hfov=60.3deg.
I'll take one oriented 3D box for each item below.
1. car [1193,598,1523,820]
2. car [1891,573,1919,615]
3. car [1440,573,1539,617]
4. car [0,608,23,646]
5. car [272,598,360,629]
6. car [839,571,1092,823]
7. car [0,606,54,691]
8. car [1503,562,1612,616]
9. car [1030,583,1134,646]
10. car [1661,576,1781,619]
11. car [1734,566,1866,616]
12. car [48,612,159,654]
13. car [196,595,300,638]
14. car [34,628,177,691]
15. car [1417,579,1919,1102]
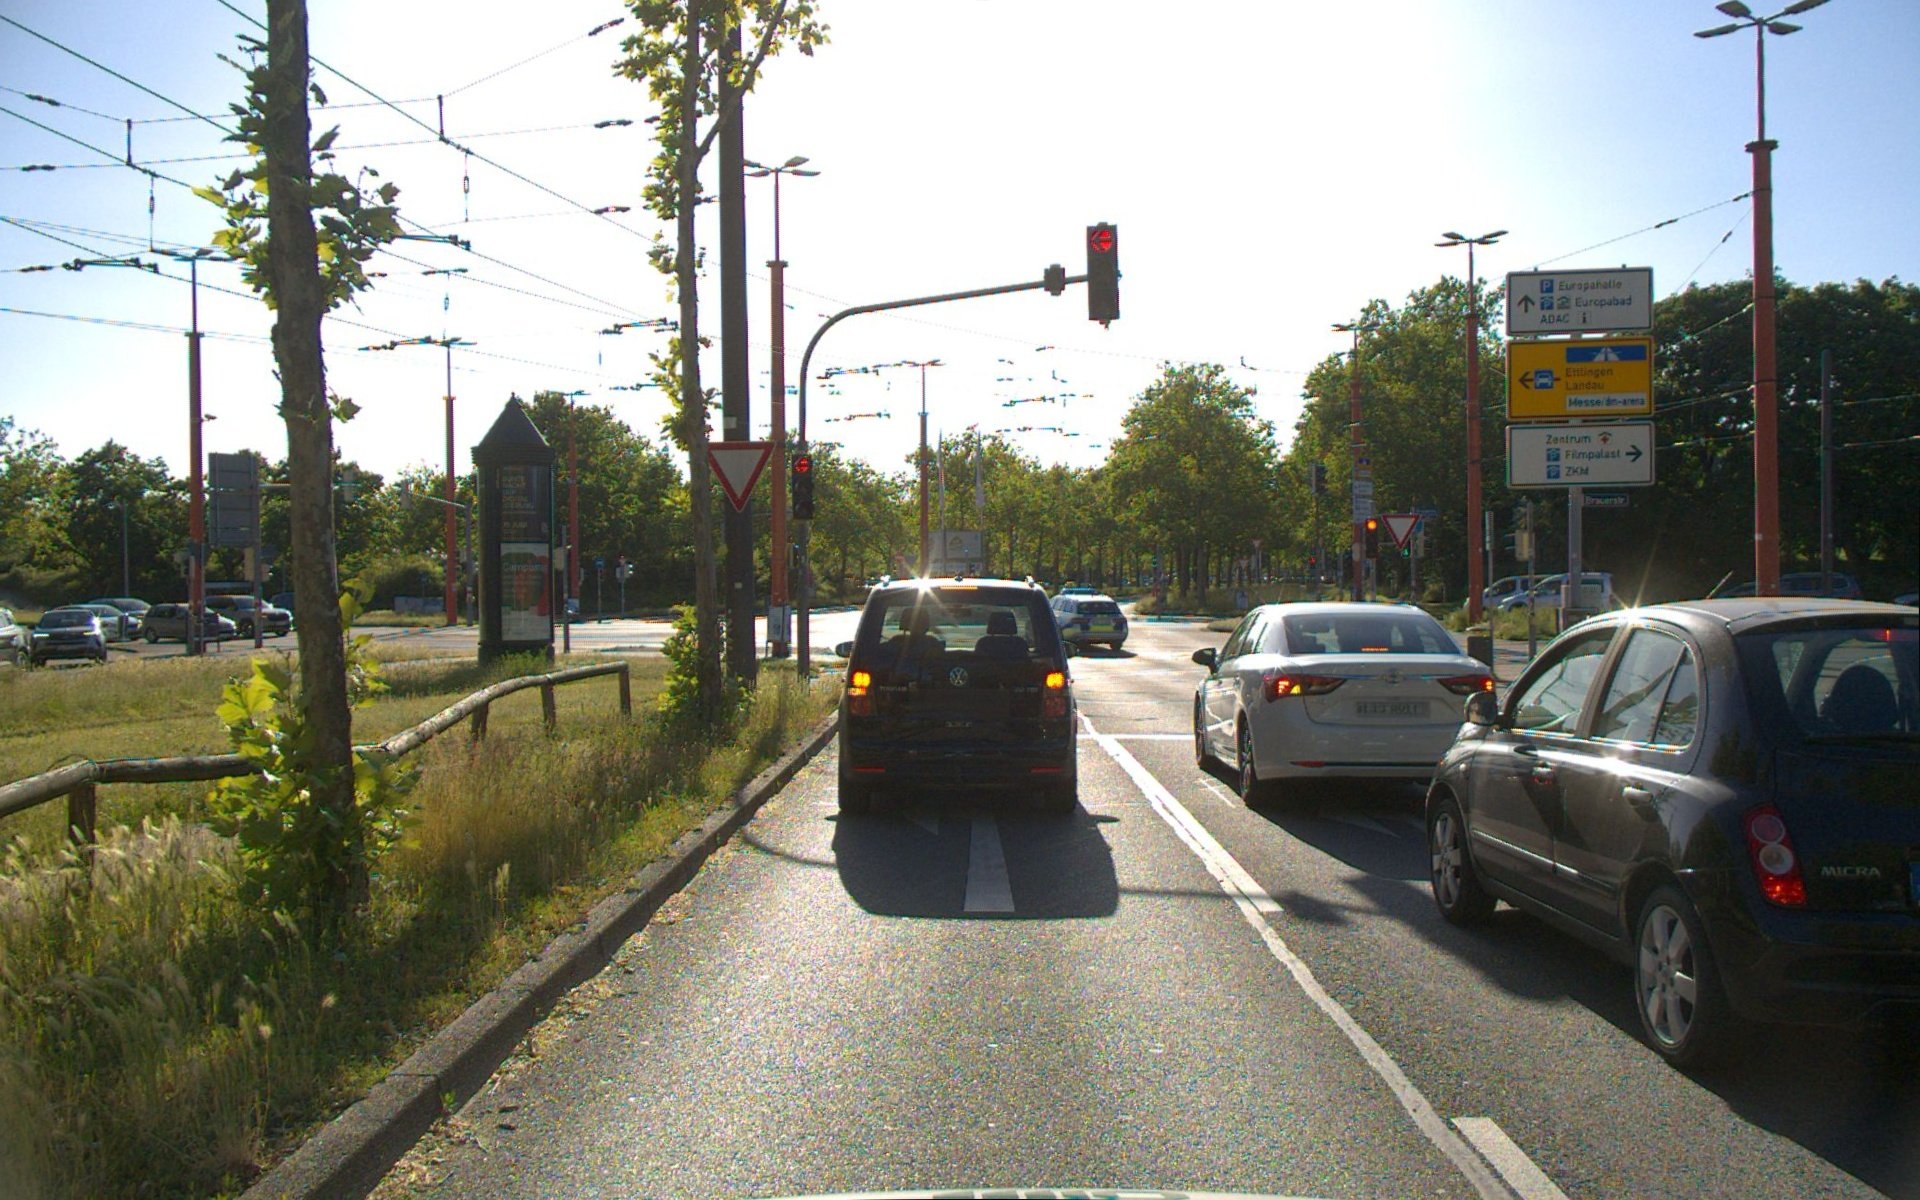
[{"bbox_3d":[2.968,0.731,13.216,1.685,1.463,4.198,1,0,1],"label":"car"},{"bbox_3d":[35.350,-0.194,58.744,3.888,1.466,1.684,1,0,28],"label":"car"},{"bbox_3d":[21.204,-0.191,66.223,3.570,1.684,1.679,1,0,25],"label":"car"},{"bbox_3d":[-41.566,1.128,69.702,3.908,1.540,1.731,0,0,25],"label":"car"},{"bbox_3d":[-29.153,0.586,74.825,3.913,1.353,1.694,0,0,31],"label":"car"},{"bbox_3d":[0.007,0.631,12.883,1.666,1.650,3.896,0,0,-1],"label":"car"},{"bbox_3d":[-18.393,0.893,29.955,1.728,1.538,4.101,0,0,-1],"label":"car"},{"bbox_3d":[22.421,-0.416,62.050,3.755,1.923,1.763,1,0,24],"label":"car"},{"bbox_3d":[3.367,0.387,46.367,1.767,1.685,4.100,0,0,-13],"label":"car"},{"bbox_3d":[28.673,-0.102,62.384,4.040,1.537,1.821,1,0,26],"label":"car"},{"bbox_3d":[29.579,-0.333,58.342,4.097,1.673,1.758,1,0,26],"label":"car"},{"bbox_3d":[-34.410,1.294,66.430,4.091,1.640,1.867,0,0,25],"label":"car"},{"bbox_3d":[-28.940,0.660,67.254,3.913,1.673,1.996,0,0,31],"label":"car"},{"bbox_3d":[-23.510,1.608,45.681,1.769,1.549,4.329,0,0,-1],"label":"car"},{"bbox_3d":[3.156,0.704,6.651,1.620,1.526,3.614,1,0,0],"label":"car"}]
